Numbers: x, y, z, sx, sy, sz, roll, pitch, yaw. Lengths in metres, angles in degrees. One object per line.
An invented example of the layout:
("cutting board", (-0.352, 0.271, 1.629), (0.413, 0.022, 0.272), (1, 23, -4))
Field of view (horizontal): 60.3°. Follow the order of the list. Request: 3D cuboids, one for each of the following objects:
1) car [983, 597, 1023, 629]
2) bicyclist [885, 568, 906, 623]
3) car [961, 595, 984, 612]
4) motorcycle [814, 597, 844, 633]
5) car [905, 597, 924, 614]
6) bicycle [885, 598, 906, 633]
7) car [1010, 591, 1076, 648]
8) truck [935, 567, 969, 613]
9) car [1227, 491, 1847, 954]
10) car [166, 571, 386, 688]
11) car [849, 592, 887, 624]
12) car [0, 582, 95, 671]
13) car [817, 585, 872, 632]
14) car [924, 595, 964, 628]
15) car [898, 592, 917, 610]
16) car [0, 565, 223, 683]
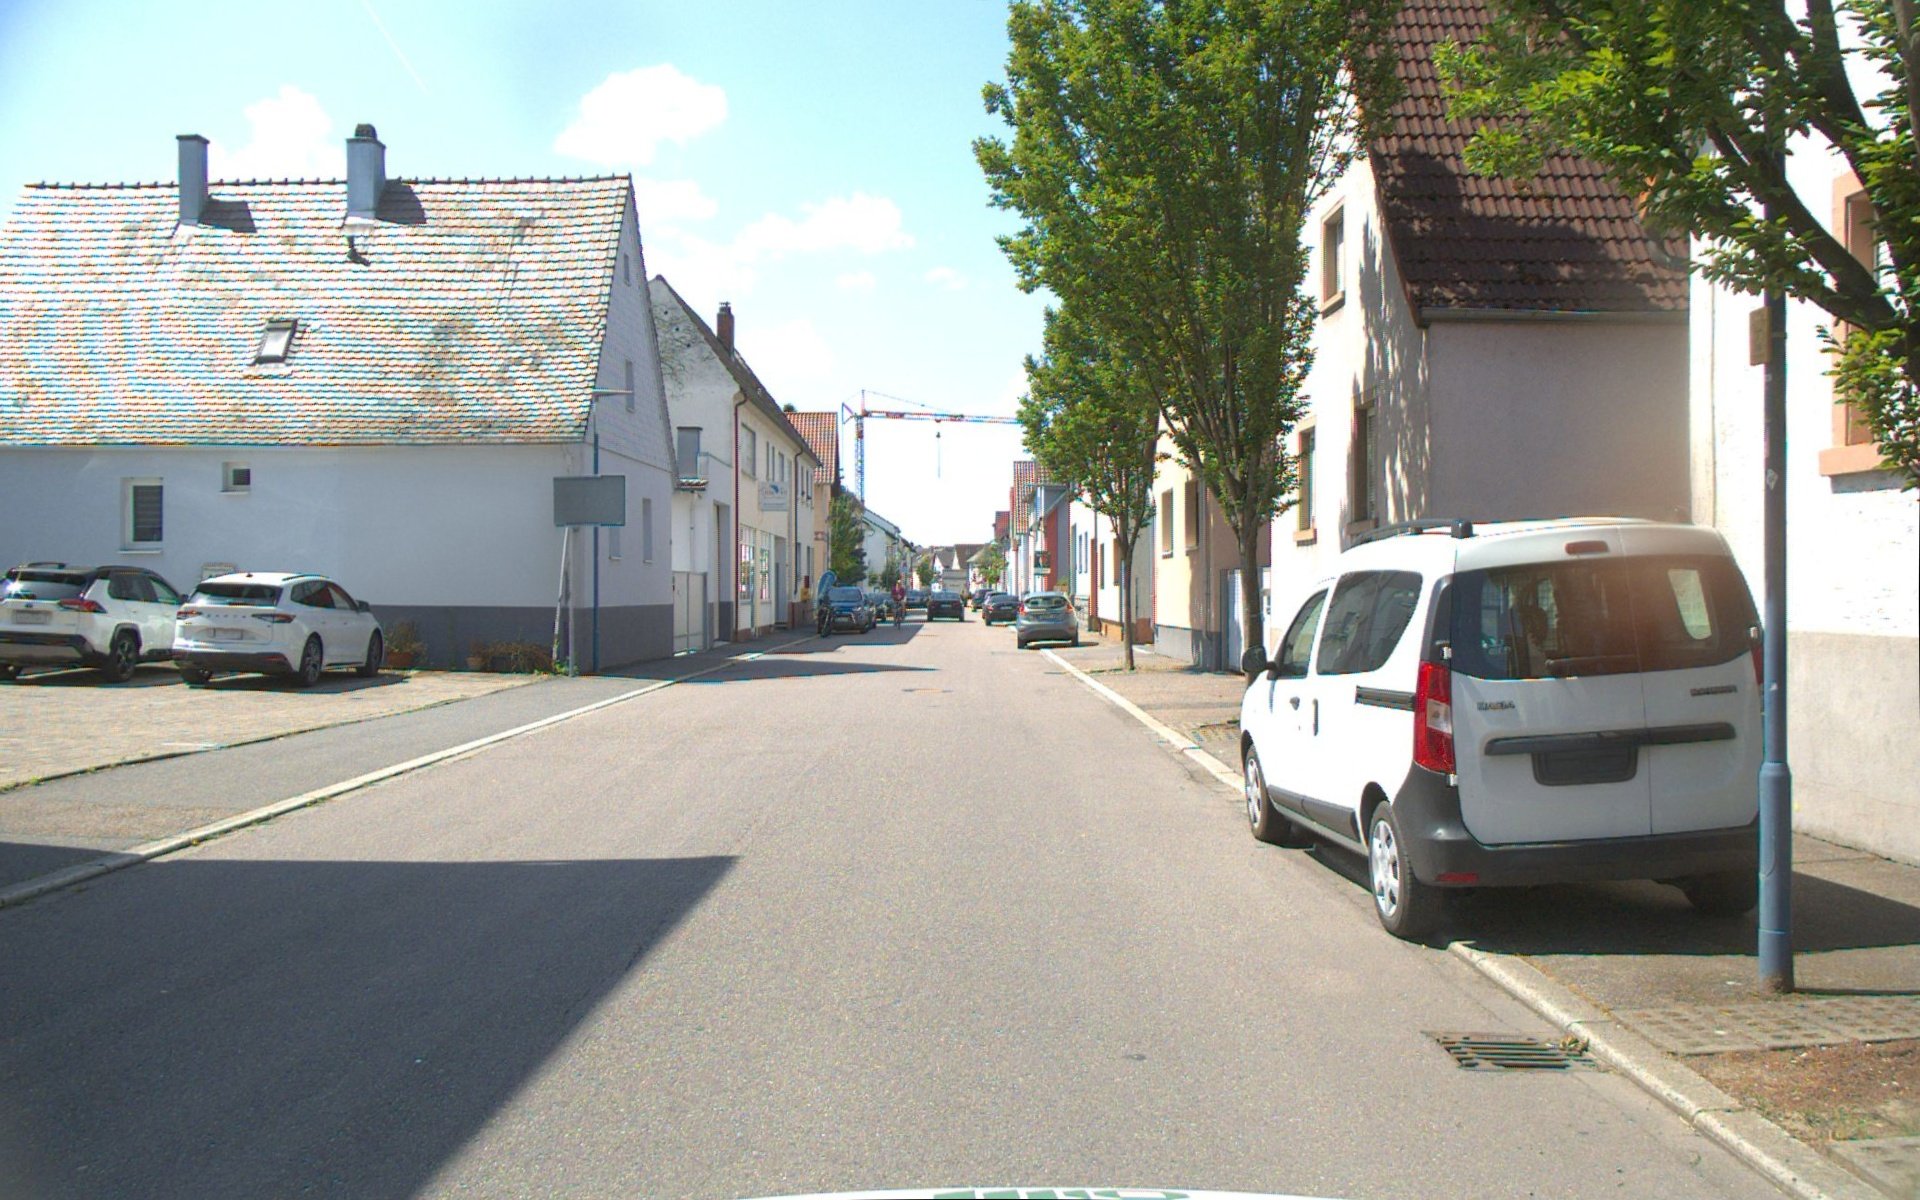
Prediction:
("car", (1.896, 0.546, 73.659), (1.684, 1.379, 4.156), (0, 0, 0))
("bicyclist", (-2.512, -0.164, 64.639), (0.725, 2.095, 0.844), (2, -1, -1))
("car", (0.926, 0.249, 122.908), (1.684, 1.291, 4.156), (0, 0, 0))
("motorcycle", (-4.412, 0.498, 55.892), (0.829, 1.190, 2.468), (2, 0, -2))
("car", (-4.440, 0.524, 161.371), (1.772, 1.617, 3.999), (0, 0, -1))
("bicycle", (-2.520, 0.587, 64.549), (0.736, 1.330, 2.684), (2, 0, -1))
("car", (2.246, 0.498, 45.499), (1.684, 1.487, 4.157), (0, 0, 1))
("truck", (-0.710, -0.934, 164.648), (3.080, 4.325, 9.302), (2, 0, 1))
("car", (2.676, 0.480, 8.763), (1.685, 1.821, 4.142), (-1, 0, -2))
("car", (-10.244, 0.400, 25.129), (1.685, 1.583, 4.197), (1, 0, -2))
("car", (-4.667, 0.397, 84.696), (1.772, 1.617, 3.999), (0, 0, -1))
("car", (-15.223, 0.386, 25.476), (1.685, 1.303, 4.197), (1, 0, -2))
("car", (-4.142, 0.298, 59.670), (1.772, 1.617, 3.999), (0, 0, -1))
("car", (-0.789, 0.550, 82.076), (1.863, 1.591, 4.477), (0, 0, 1))
("car", (-4.897, 0.105, 154.765), (1.772, 1.617, 3.999), (0, 0, -1))
("car", (-12.823, 0.315, 24.871), (1.685, 1.583, 4.197), (1, 0, -2))
